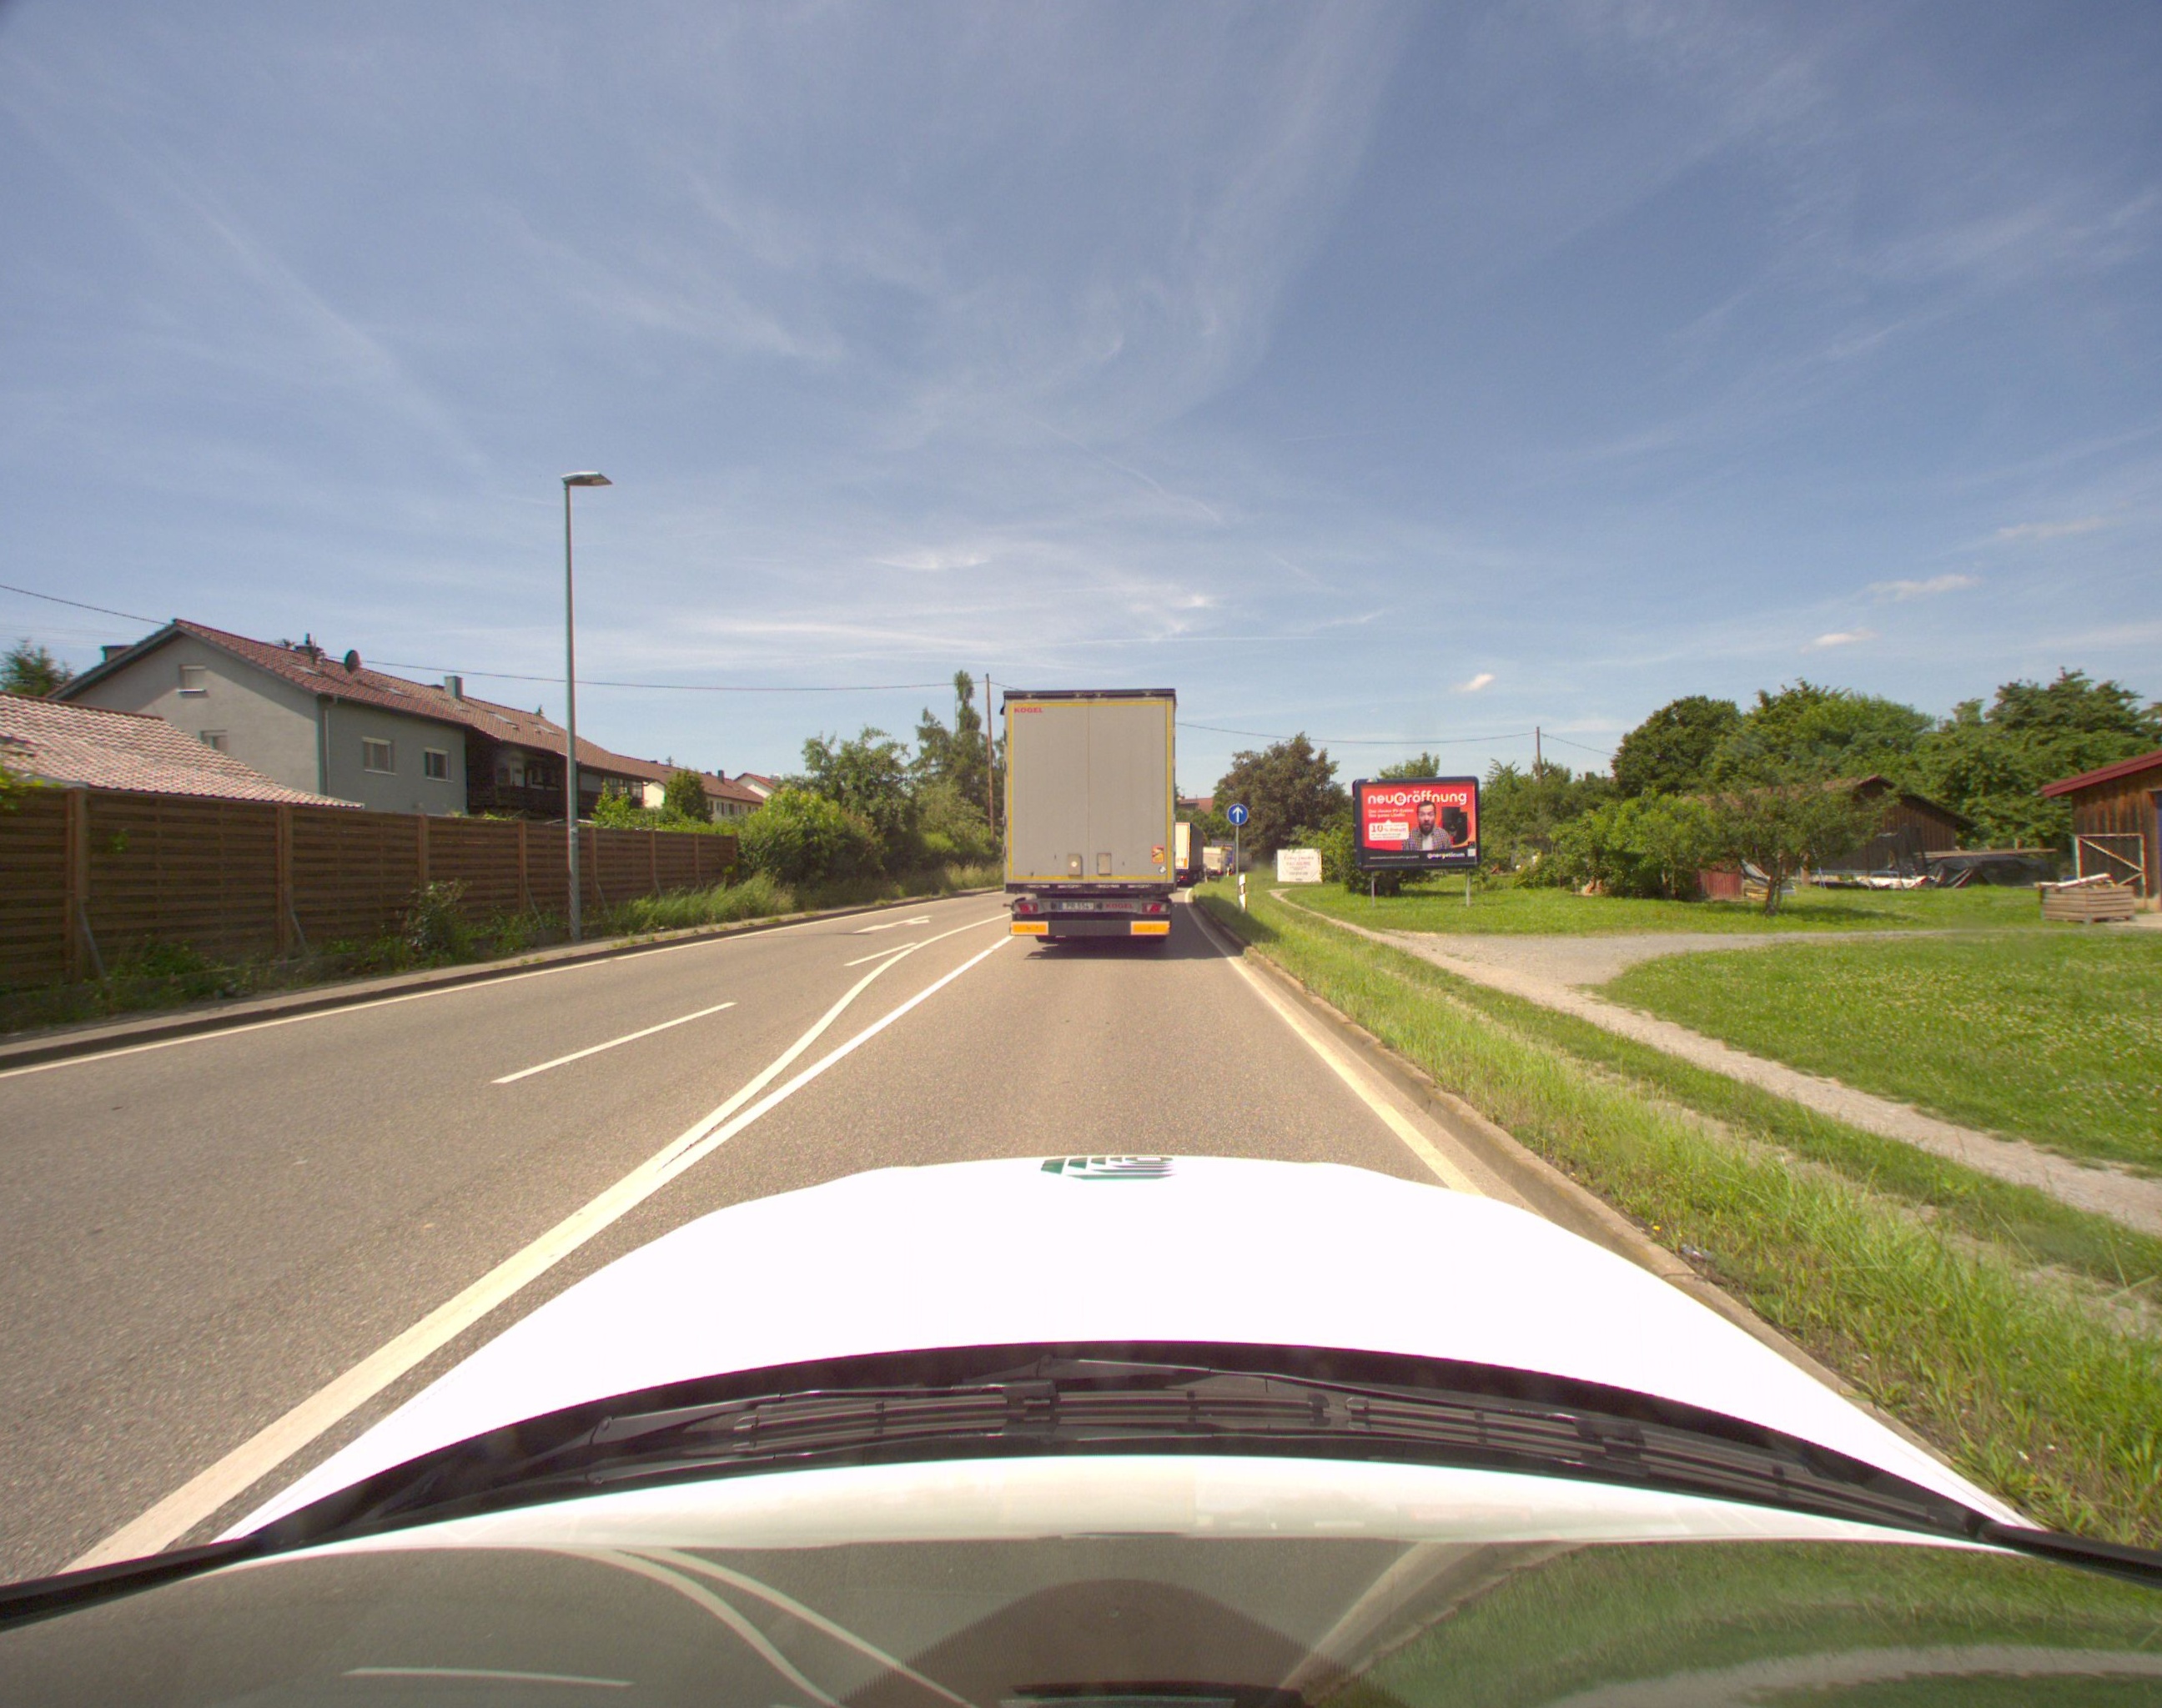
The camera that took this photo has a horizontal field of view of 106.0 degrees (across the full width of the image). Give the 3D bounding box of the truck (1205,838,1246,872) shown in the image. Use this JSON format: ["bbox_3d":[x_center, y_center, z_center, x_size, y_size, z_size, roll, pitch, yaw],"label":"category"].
[{"bbox_3d":[16.157,0.083,90.597,3.406,3.604,9.395,0,0,17],"label":"truck"}]

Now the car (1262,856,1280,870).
[{"bbox_3d":[27.636,1.283,118.220,1.976,2.014,4.021,-1,-1,22],"label":"car"}]

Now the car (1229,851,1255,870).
[{"bbox_3d":[20.108,0.830,101.702,2.512,2.277,6.410,0,0,17],"label":"car"}]

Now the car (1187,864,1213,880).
[{"bbox_3d":[10.622,1.564,72.569,1.979,1.376,4.014,0,-1,13],"label":"car"}]

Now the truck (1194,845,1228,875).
[{"bbox_3d":[12.923,0.616,80.698,2.524,2.803,6.057,0,-1,16],"label":"truck"}]

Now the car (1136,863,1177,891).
[{"bbox_3d":[3.876,1.129,41.368,1.808,1.346,3.857,0,-1,9],"label":"car"}]

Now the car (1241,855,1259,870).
[{"bbox_3d":[22.434,1.157,108.086,1.978,2.014,4.018,-1,-1,17],"label":"car"}]

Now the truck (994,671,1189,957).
[{"bbox_3d":[0.547,-0.584,17.551,2.809,4.127,11.456,0,0,4],"label":"truck"}]

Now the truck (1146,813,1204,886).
[{"bbox_3d":[6.802,-0.146,56.600,2.743,4.289,16.463,0,-1,11],"label":"truck"}]

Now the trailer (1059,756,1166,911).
[{"bbox_3d":[1.104,-0.554,25.166,2.812,4.111,6.552,-1,0,4],"label":"trailer"}]
